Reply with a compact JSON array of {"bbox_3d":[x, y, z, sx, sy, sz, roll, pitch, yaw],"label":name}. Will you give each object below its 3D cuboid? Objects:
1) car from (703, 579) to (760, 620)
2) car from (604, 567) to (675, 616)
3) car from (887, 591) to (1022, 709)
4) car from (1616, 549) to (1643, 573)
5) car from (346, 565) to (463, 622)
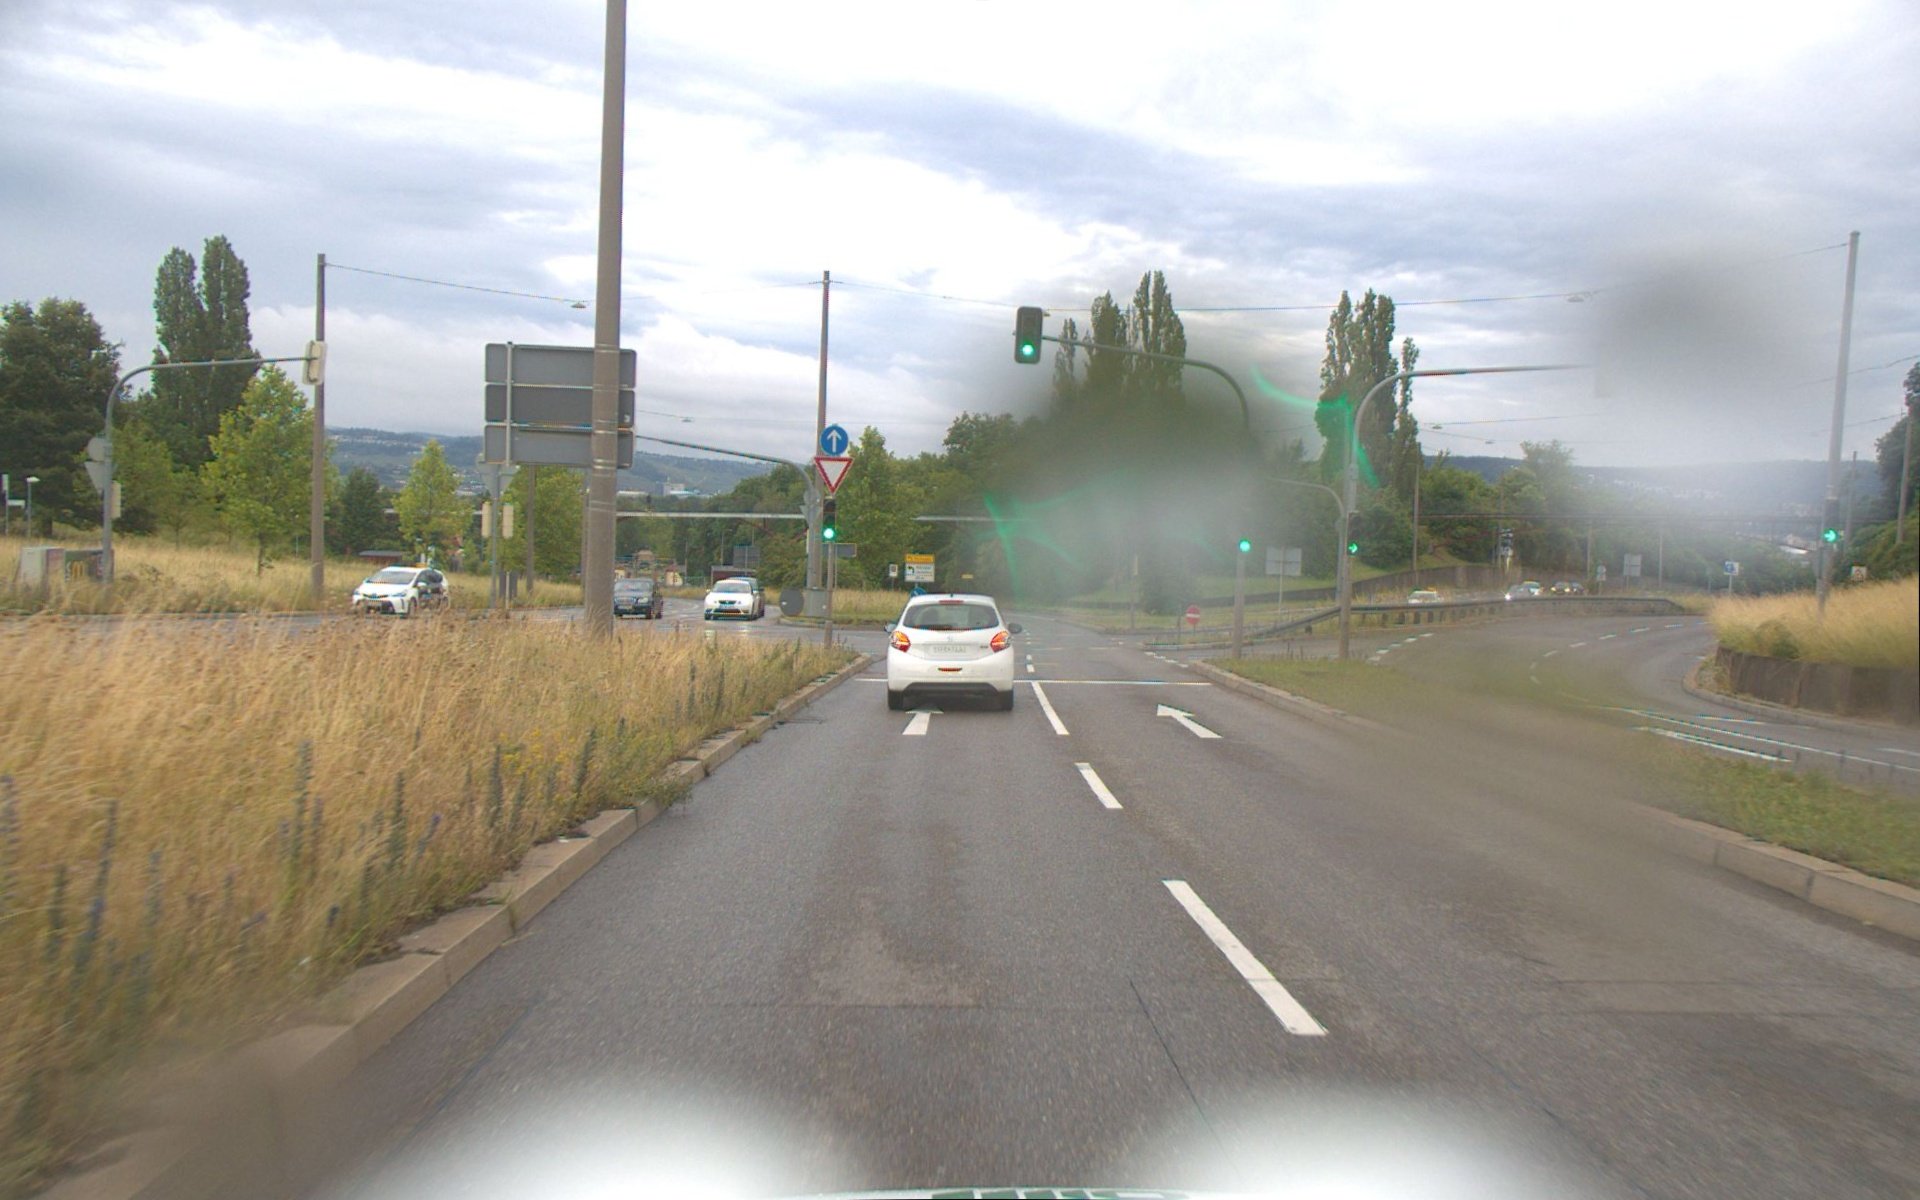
[{"bbox_3d":[-8.319,0.010,60.508,1.703,1.397,3.997,2,-1,-4],"label":"car"},{"bbox_3d":[-11.226,-0.265,58.215,1.857,1.564,3.997,2,-1,-3],"label":"car"},{"bbox_3d":[-0.015,0.648,22.572,1.673,1.465,3.691,1,-1,2],"label":"car"},{"bbox_3d":[63.281,-3.680,156.272,2.034,2.119,4.369,4,4,26],"label":"car"},{"bbox_3d":[-17.379,-0.167,51.978,1.846,1.639,4.677,2,-1,2],"label":"car"}]
